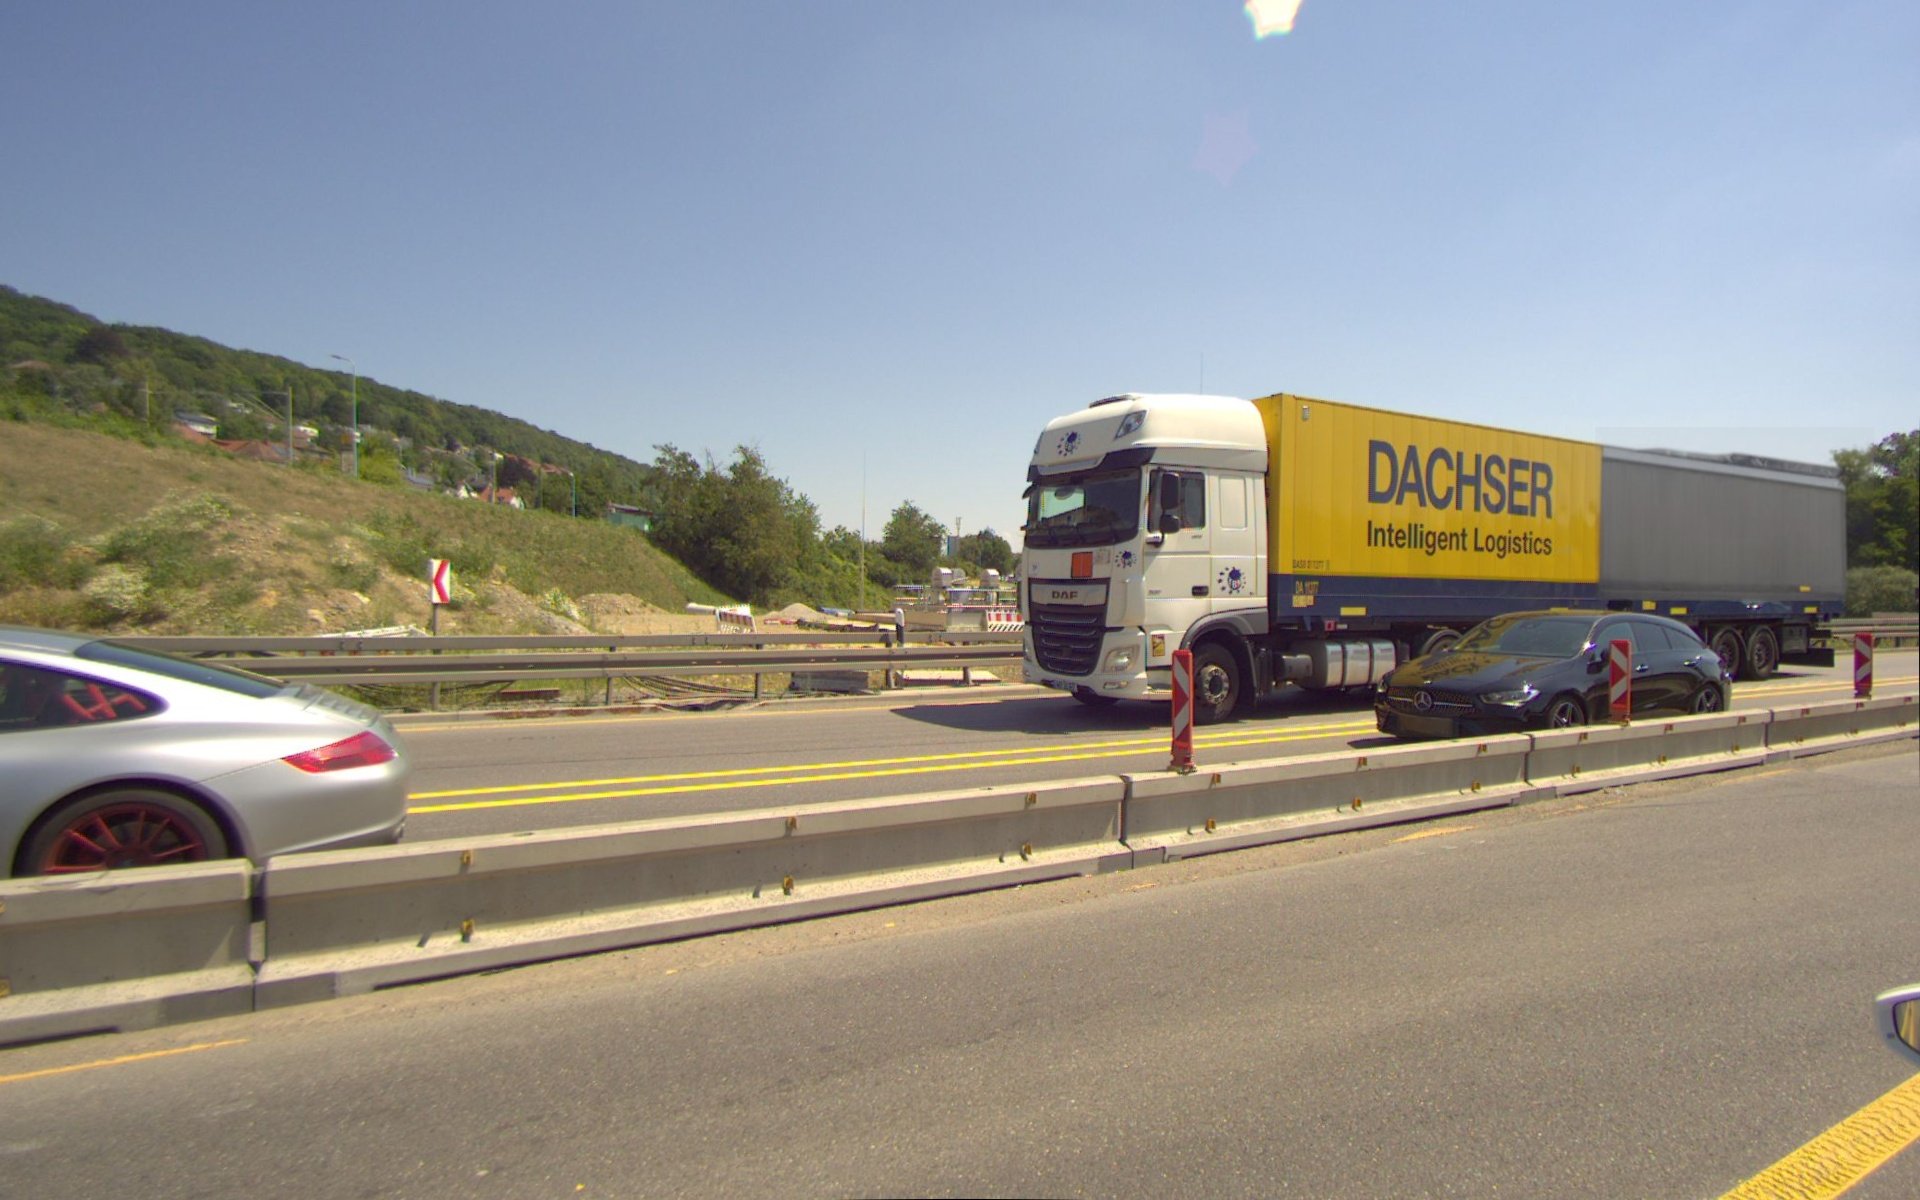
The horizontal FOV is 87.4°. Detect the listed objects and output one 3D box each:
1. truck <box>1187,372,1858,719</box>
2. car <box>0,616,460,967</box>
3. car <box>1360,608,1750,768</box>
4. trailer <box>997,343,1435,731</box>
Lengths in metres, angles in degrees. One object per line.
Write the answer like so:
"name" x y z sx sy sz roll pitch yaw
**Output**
"truck" 10.755 -0.596 17.720 15.189 4.400 2.794 1 1 -30
"car" -4.570 0.745 4.281 4.285 1.282 1.668 0 1 -31
"car" 6.487 0.808 10.819 4.450 1.380 1.668 0 1 -31
"trailer" 3.463 -0.657 13.606 5.155 4.286 2.853 1 0 -29
